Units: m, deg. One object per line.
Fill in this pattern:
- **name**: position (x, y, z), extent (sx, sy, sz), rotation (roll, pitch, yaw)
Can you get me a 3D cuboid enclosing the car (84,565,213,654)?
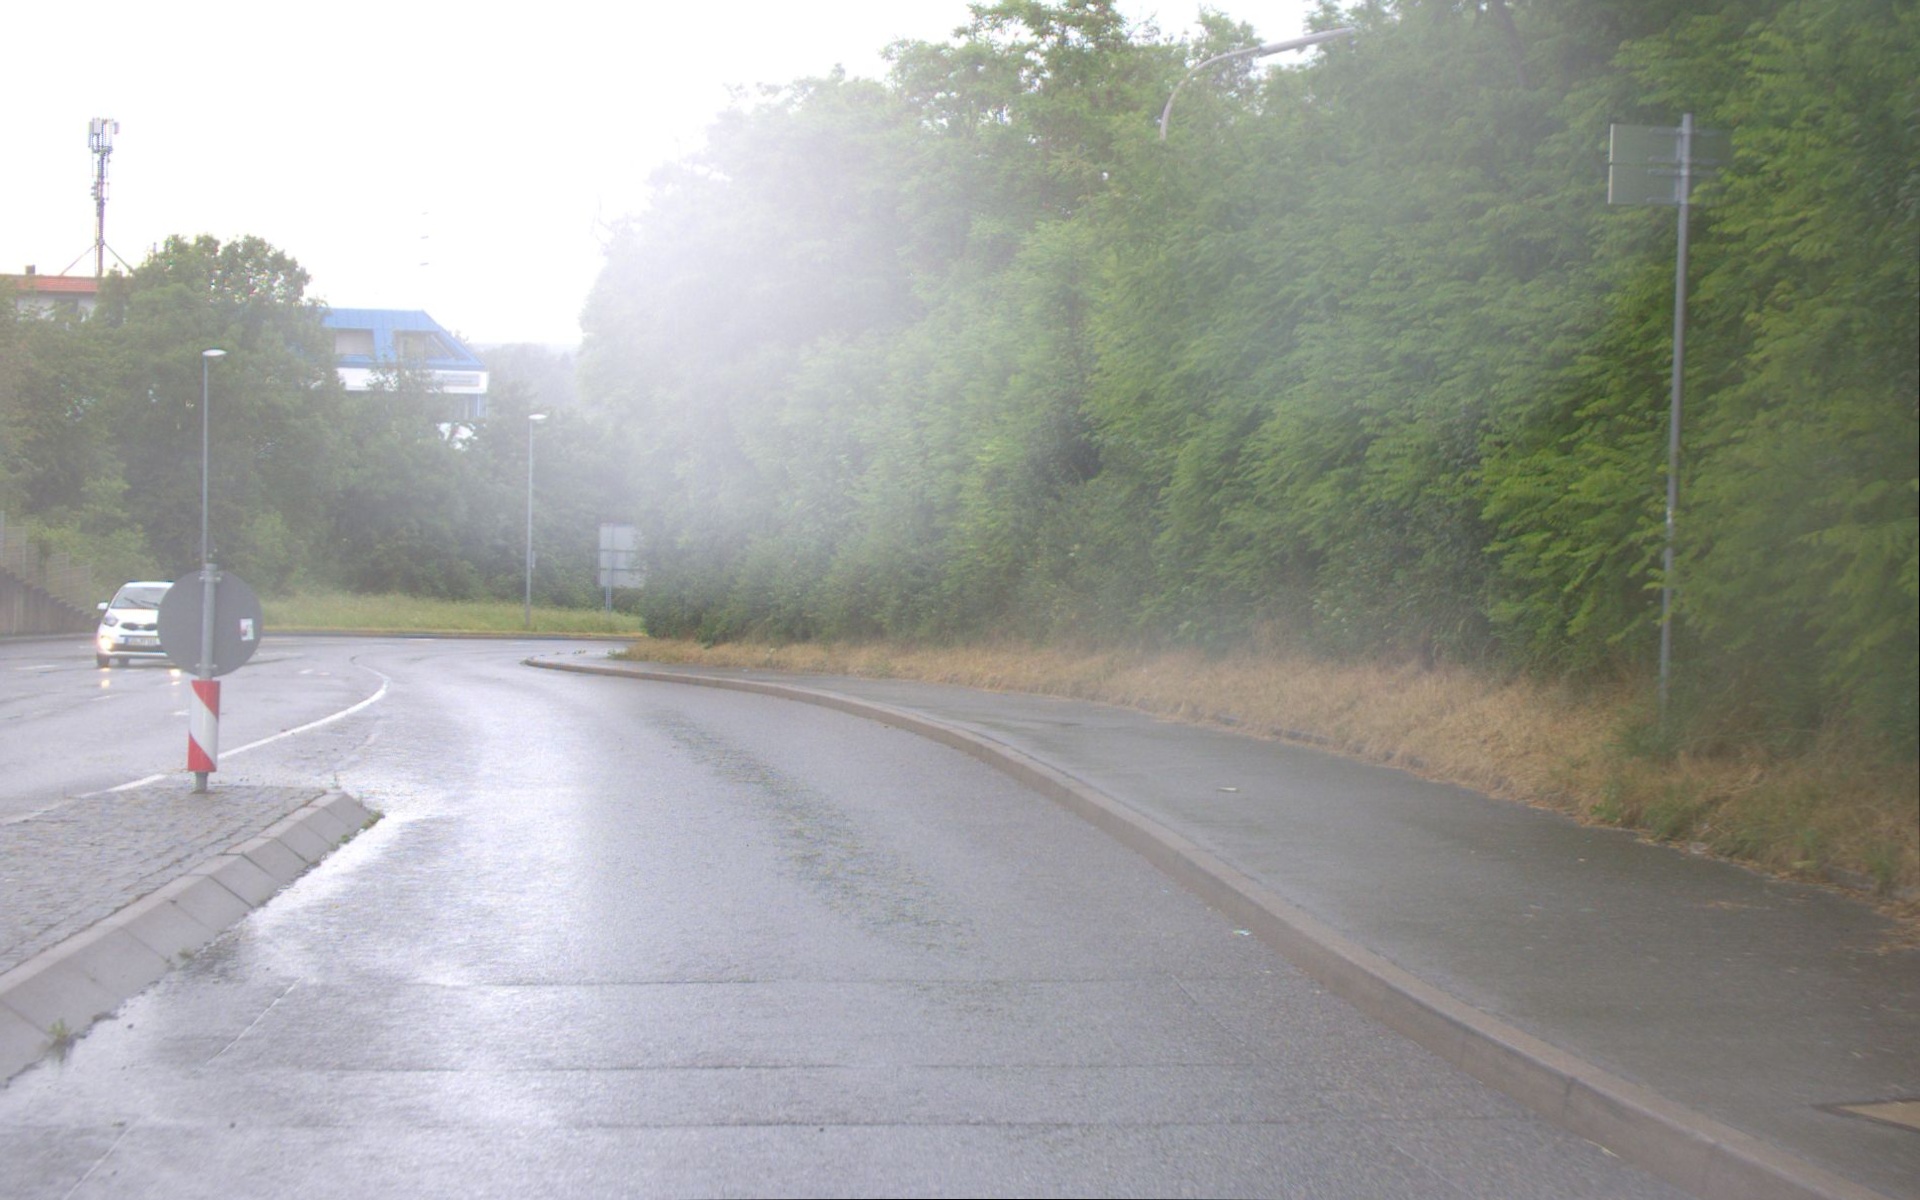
- **car**: position (-14.165, 0.143, 60.178), extent (1.652, 1.424, 3.794), rotation (1, 1, -5)
